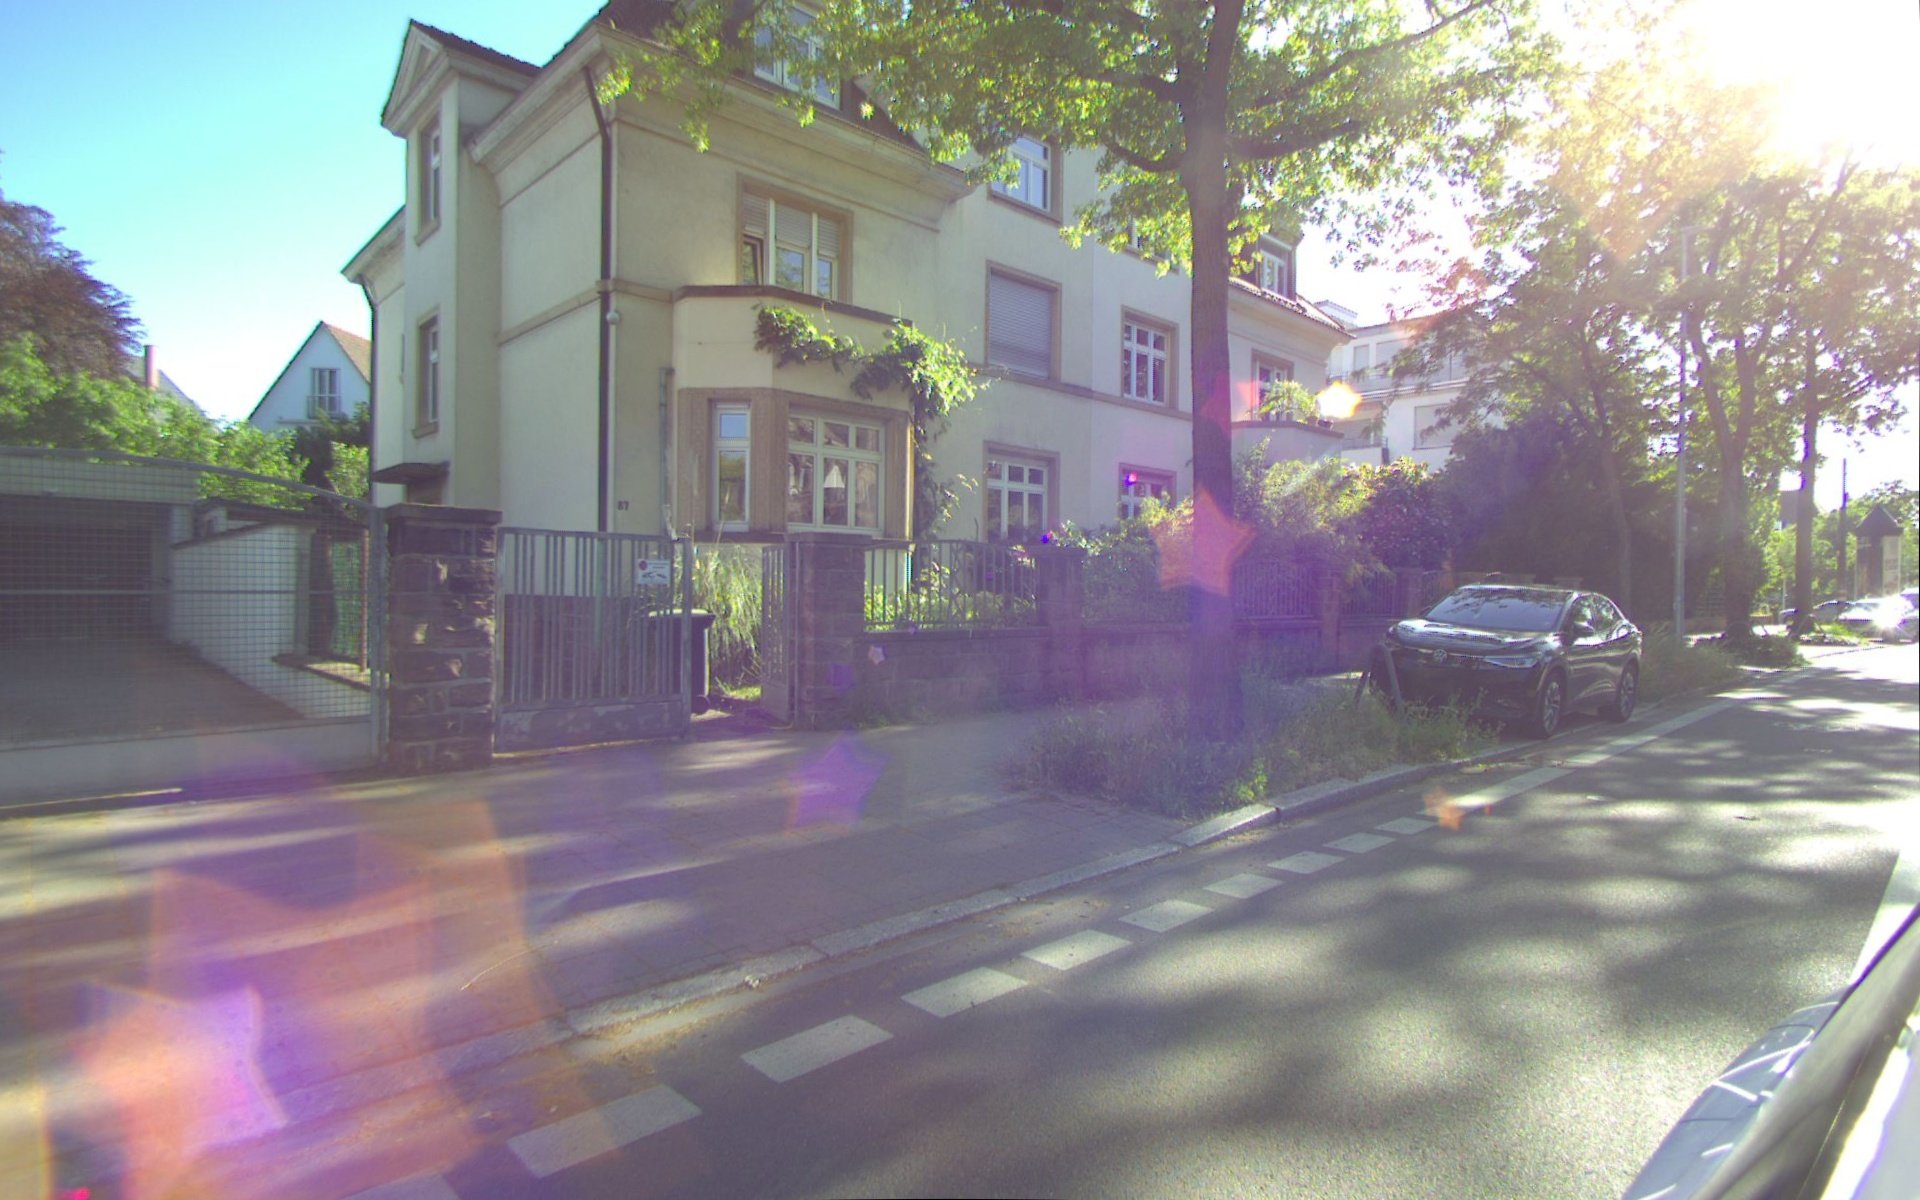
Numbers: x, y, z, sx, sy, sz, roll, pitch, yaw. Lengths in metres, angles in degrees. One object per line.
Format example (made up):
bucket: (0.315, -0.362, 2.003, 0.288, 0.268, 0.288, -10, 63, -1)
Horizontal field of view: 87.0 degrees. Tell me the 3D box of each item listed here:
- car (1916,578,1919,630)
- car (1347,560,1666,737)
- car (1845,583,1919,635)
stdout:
car: (37.257, 0.153, 37.571, 4.663, 1.919, 2.128, 0, 1, -41)
car: (6.698, 0.486, 12.208, 4.304, 1.695, 1.997, 1, 2, -42)
car: (31.505, 0.263, 34.113, 3.927, 1.660, 1.824, 0, 1, -38)
